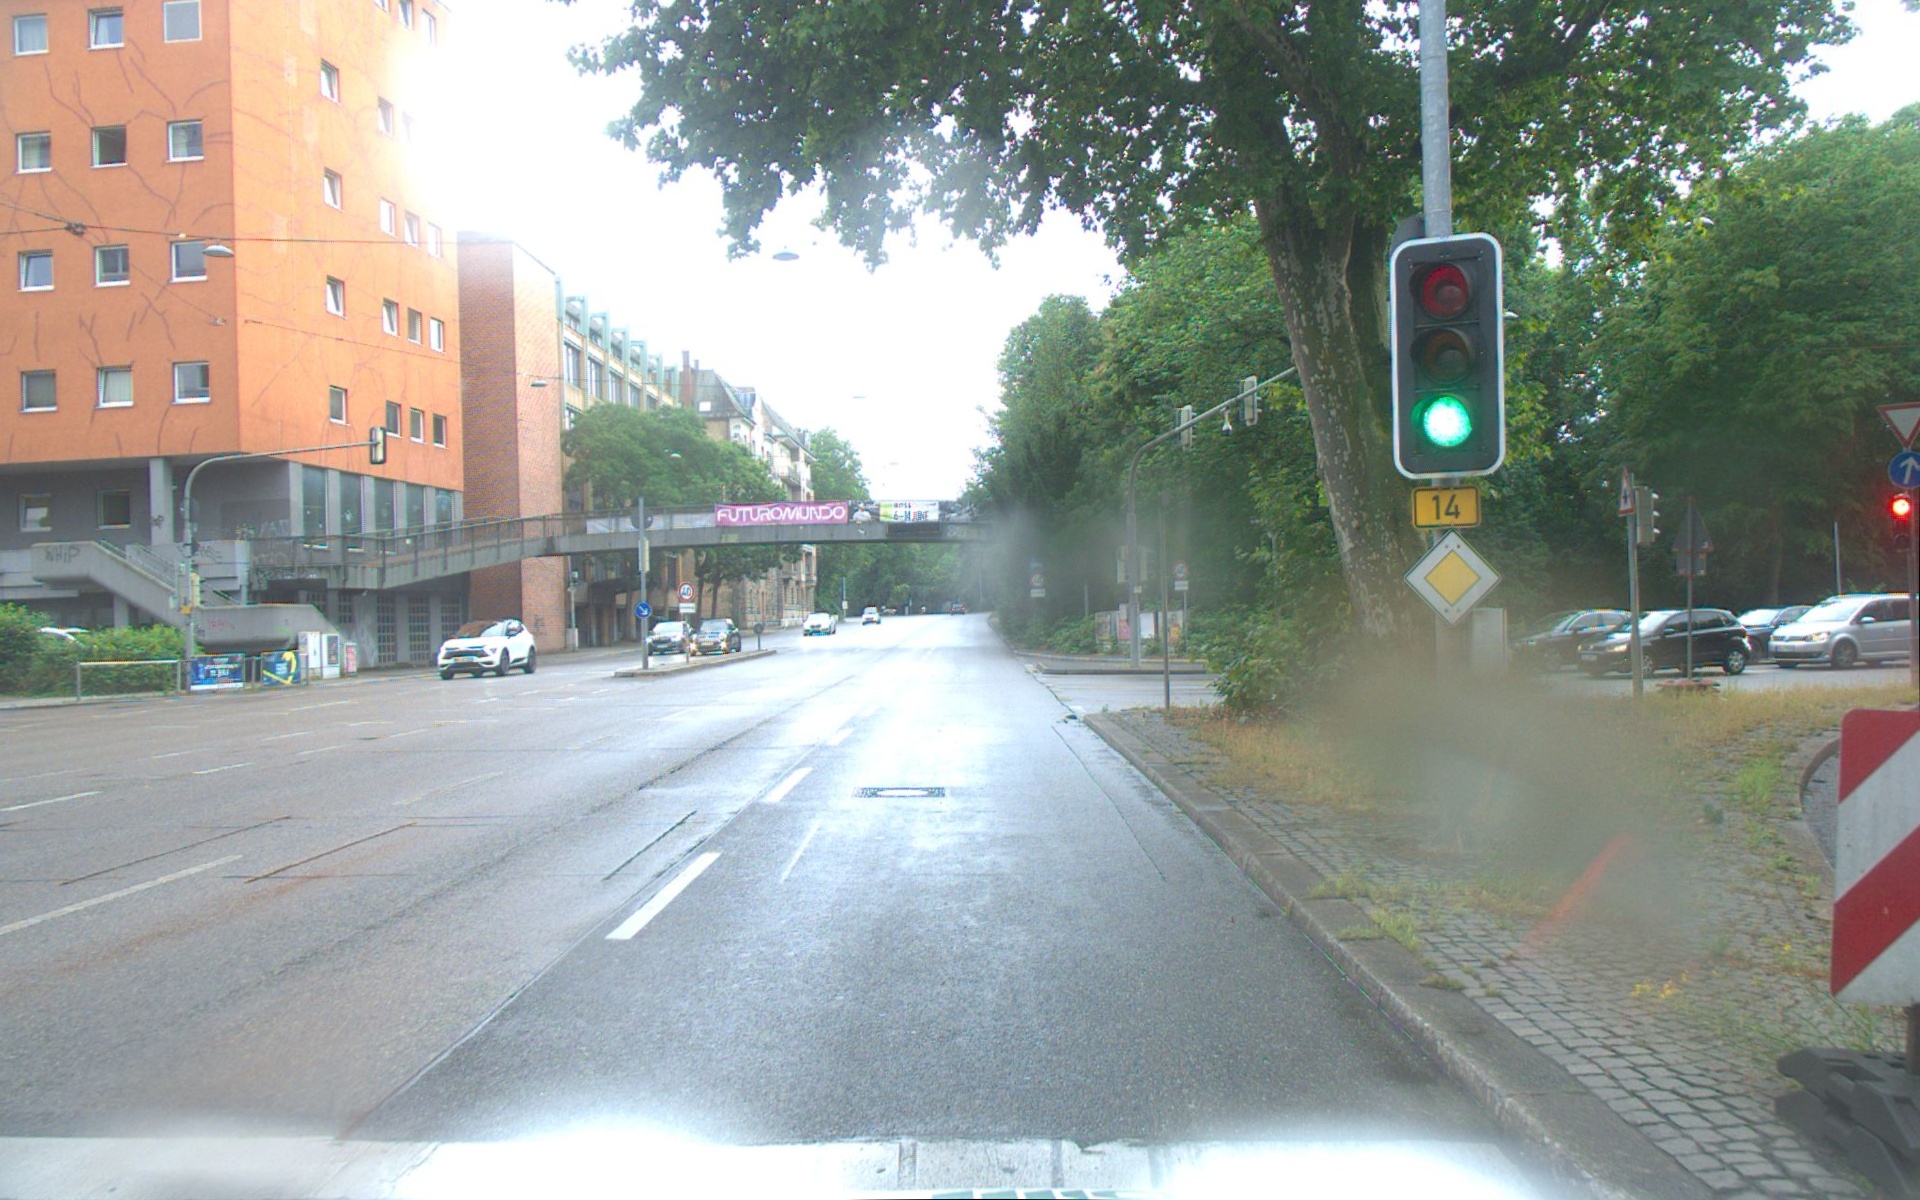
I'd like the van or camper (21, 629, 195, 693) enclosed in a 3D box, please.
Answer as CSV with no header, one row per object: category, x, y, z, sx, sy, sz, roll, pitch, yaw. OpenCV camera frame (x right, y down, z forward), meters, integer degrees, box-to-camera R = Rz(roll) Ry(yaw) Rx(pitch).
van or camper,-24.024,1.709,46.712,3.902,1.656,1.915,-1,0,5

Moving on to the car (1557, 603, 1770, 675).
car,15.371,0.859,36.195,4.119,1.486,1.785,1,-1,-17

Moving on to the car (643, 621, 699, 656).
car,-13.146,1.742,75.380,1.673,1.490,4.042,-2,-1,2

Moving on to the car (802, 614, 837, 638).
car,-9.054,1.690,106.625,1.793,1.418,4.405,-3,-1,1

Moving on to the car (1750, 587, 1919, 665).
car,20.639,0.608,38.201,4.129,1.709,1.898,1,-1,-17

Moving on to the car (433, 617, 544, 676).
car,-13.782,1.333,48.634,1.850,1.638,4.457,-1,-1,2

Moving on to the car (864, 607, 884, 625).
car,-7.932,1.500,152.210,1.568,1.525,3.711,-3,-1,1

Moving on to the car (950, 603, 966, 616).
car,-0.305,1.249,221.024,1.964,1.672,4.373,-1,-1,-2

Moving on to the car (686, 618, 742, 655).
car,-10.167,1.495,68.632,1.648,1.461,3.862,-2,-1,1

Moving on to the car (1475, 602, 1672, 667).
car,14.786,0.833,39.923,4.131,1.466,1.941,1,-1,-17

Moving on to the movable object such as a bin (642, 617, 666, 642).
movable object such as a bin,-19.708,1.882,106.466,1.256,1.545,1.273,-1,0,1

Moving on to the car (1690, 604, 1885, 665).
car,20.797,0.862,41.598,4.361,1.427,1.821,1,-1,-17
